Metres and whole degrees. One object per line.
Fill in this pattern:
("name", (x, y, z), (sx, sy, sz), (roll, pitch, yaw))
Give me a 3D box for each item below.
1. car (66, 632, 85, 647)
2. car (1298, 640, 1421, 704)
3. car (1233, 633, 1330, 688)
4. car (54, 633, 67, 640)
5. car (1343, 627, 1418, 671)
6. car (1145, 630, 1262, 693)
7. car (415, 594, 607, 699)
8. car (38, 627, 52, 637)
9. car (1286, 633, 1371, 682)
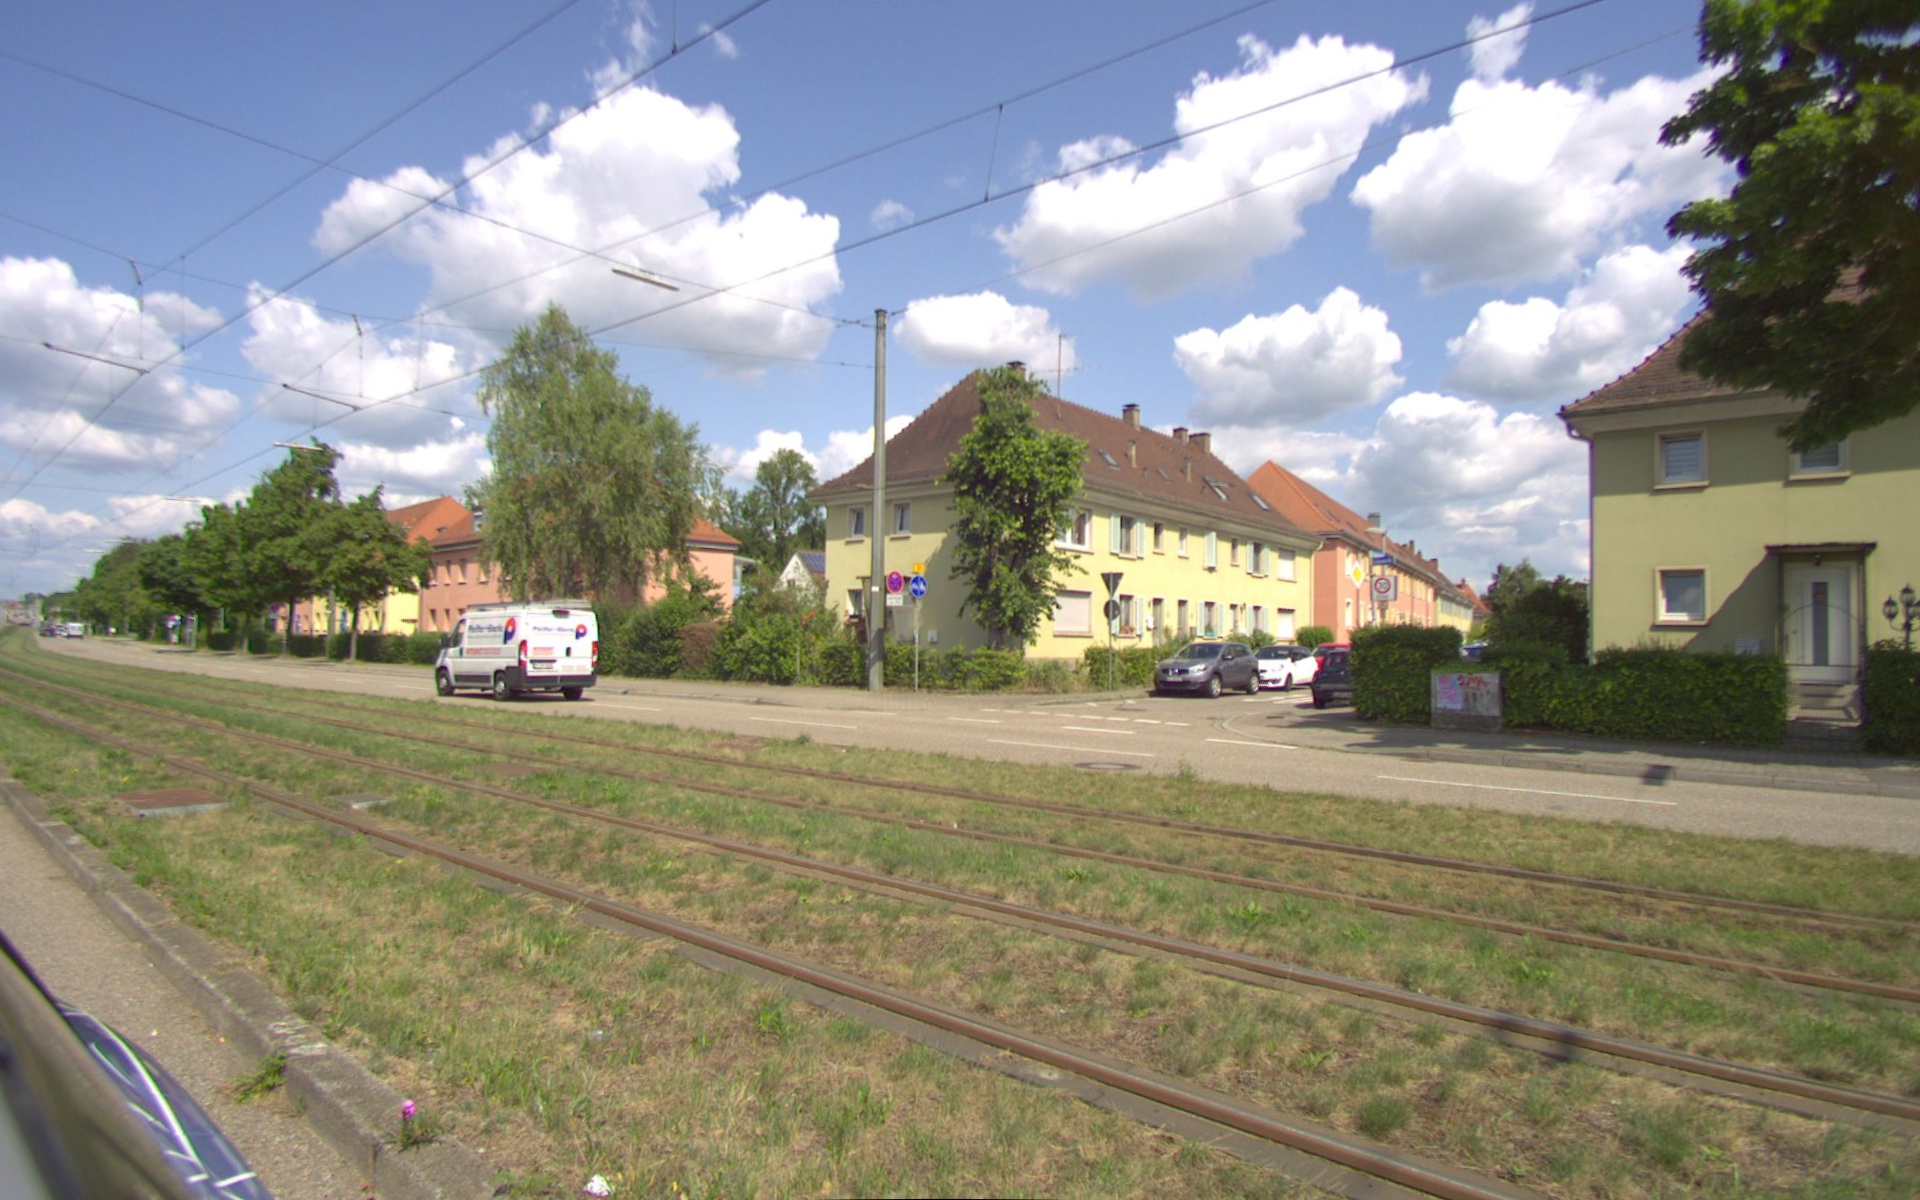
("car", (-144.431, 6.425, 165.258), (2.008, 2.455, 5.782), (4, -4, -43))
("car", (10.089, 1.756, 25.437), (1.892, 1.479, 3.705), (-2, -3, 38))
("car", (10.622, 1.983, 33.331), (1.726, 1.711, 3.702), (-2, -4, 41))
("car", (-169.458, 6.864, 190.625), (1.665, 1.442, 4.280), (2, -3, -44))
("car", (17.287, 2.014, 41.538), (1.727, 1.742, 3.701), (-2, -4, 42))
("car", (7.056, 1.753, 29.139), (1.822, 1.699, 3.703), (-2, -4, 40))
("car", (-11.433, 1.127, 25.592), (5.326, 2.390, 2.175), (-1, -3, 39))
("car", (-162.192, 5.703, 179.381), (1.665, 1.760, 4.231), (2, -3, -44))
("car", (13.537, 2.093, 37.074), (1.726, 1.711, 3.702), (-2, -4, 41))
